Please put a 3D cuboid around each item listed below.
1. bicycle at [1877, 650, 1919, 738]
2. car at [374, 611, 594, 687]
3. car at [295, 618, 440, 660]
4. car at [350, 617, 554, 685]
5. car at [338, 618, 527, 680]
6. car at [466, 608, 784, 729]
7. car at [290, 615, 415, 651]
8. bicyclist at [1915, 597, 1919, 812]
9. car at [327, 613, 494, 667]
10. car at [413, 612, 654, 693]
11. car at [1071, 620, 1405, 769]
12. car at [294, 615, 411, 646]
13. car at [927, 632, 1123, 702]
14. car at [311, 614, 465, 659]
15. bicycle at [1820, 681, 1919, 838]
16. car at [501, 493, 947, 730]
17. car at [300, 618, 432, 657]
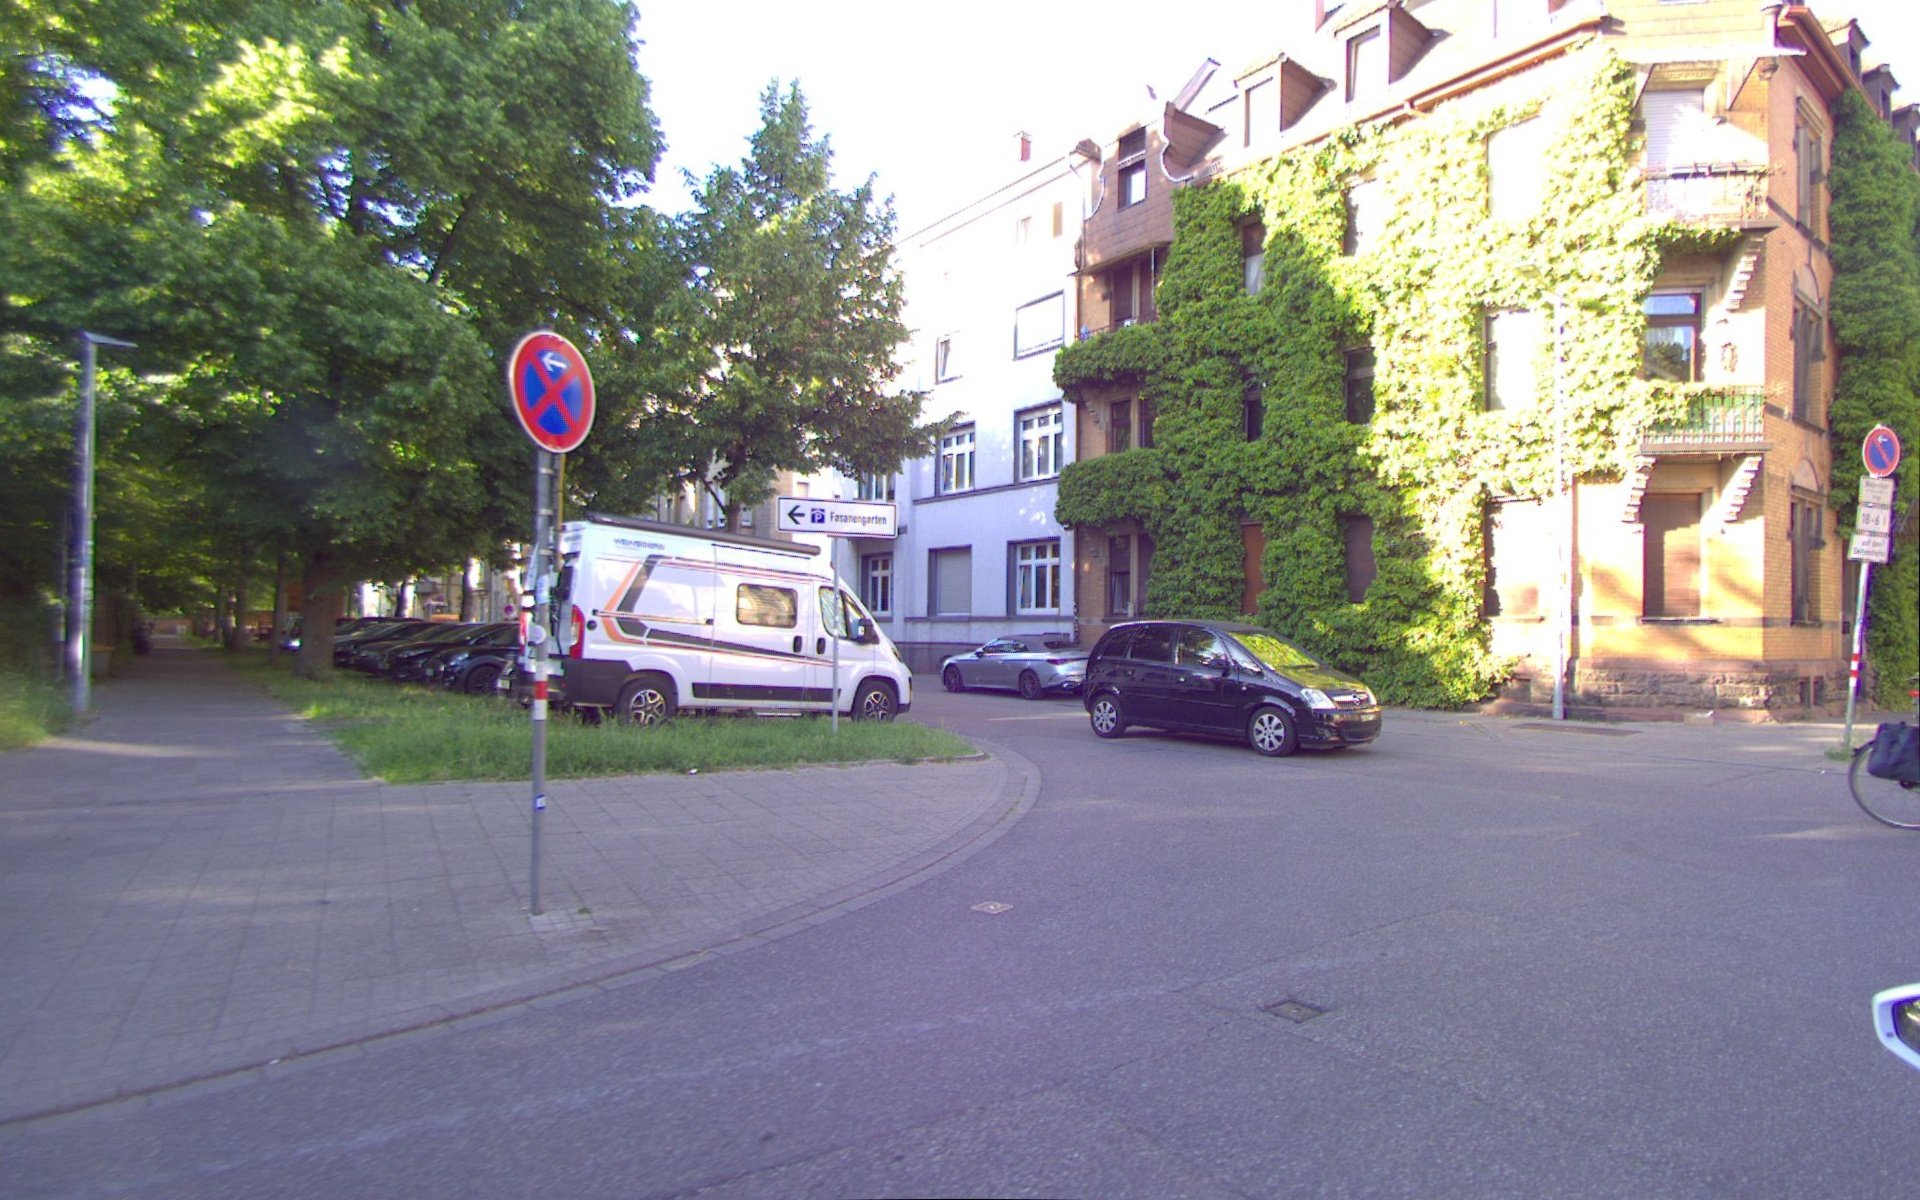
[{"bbox_3d":[14.812,1.418,15.457,1.584,1.285,0.560,1,-2,-30],"label":"bicycle"},{"bbox_3d":[-10.021,1.005,21.267,3.850,1.461,1.956,2,-2,-40],"label":"car"},{"bbox_3d":[-19.376,1.272,32.914,3.850,1.273,1.764,2,-1,-40],"label":"car"},{"bbox_3d":[-11.614,1.149,23.066,3.850,1.395,1.955,2,-1,-40],"label":"car"},{"bbox_3d":[-13.082,1.195,25.002,3.850,1.395,1.955,2,-1,-40],"label":"car"},{"bbox_3d":[-5.114,0.992,15.632,4.265,1.596,1.955,2,-1,-40],"label":"car"},{"bbox_3d":[-23.176,1.283,38.353,3.850,1.273,1.764,2,-1,-40],"label":"car"},{"bbox_3d":[7.471,0.763,7.146,0.704,1.547,0.959,2,-1,-45],"label":"bicyclist"},{"bbox_3d":[-15.547,1.123,28.481,3.850,1.395,1.955,2,-1,-40],"label":"car"},{"bbox_3d":[-8.098,0.969,19.216,3.850,1.360,1.955,2,-1,-40],"label":"car"},{"bbox_3d":[3.433,1.078,13.027,1.636,1.611,3.974,0,-1,-40],"label":"car"},{"bbox_3d":[-24.702,1.241,40.889,3.850,1.170,1.764,2,-1,-40],"label":"car"},{"bbox_3d":[1.433,1.510,23.959,1.867,1.423,4.870,0,-1,-39],"label":"car"},{"bbox_3d":[-17.554,1.132,30.915,3.850,1.273,1.764,2,-1,-40],"label":"car"},{"bbox_3d":[7.529,1.202,7.257,0.694,1.087,1.943,2,-1,-44],"label":"bicycle"},{"bbox_3d":[-3.042,0.209,13.893,5.587,2.649,2.213,2,-1,-40],"label":"car"},{"bbox_3d":[-21.309,1.345,36.111,3.850,1.273,1.764,2,-1,-40],"label":"car"}]
